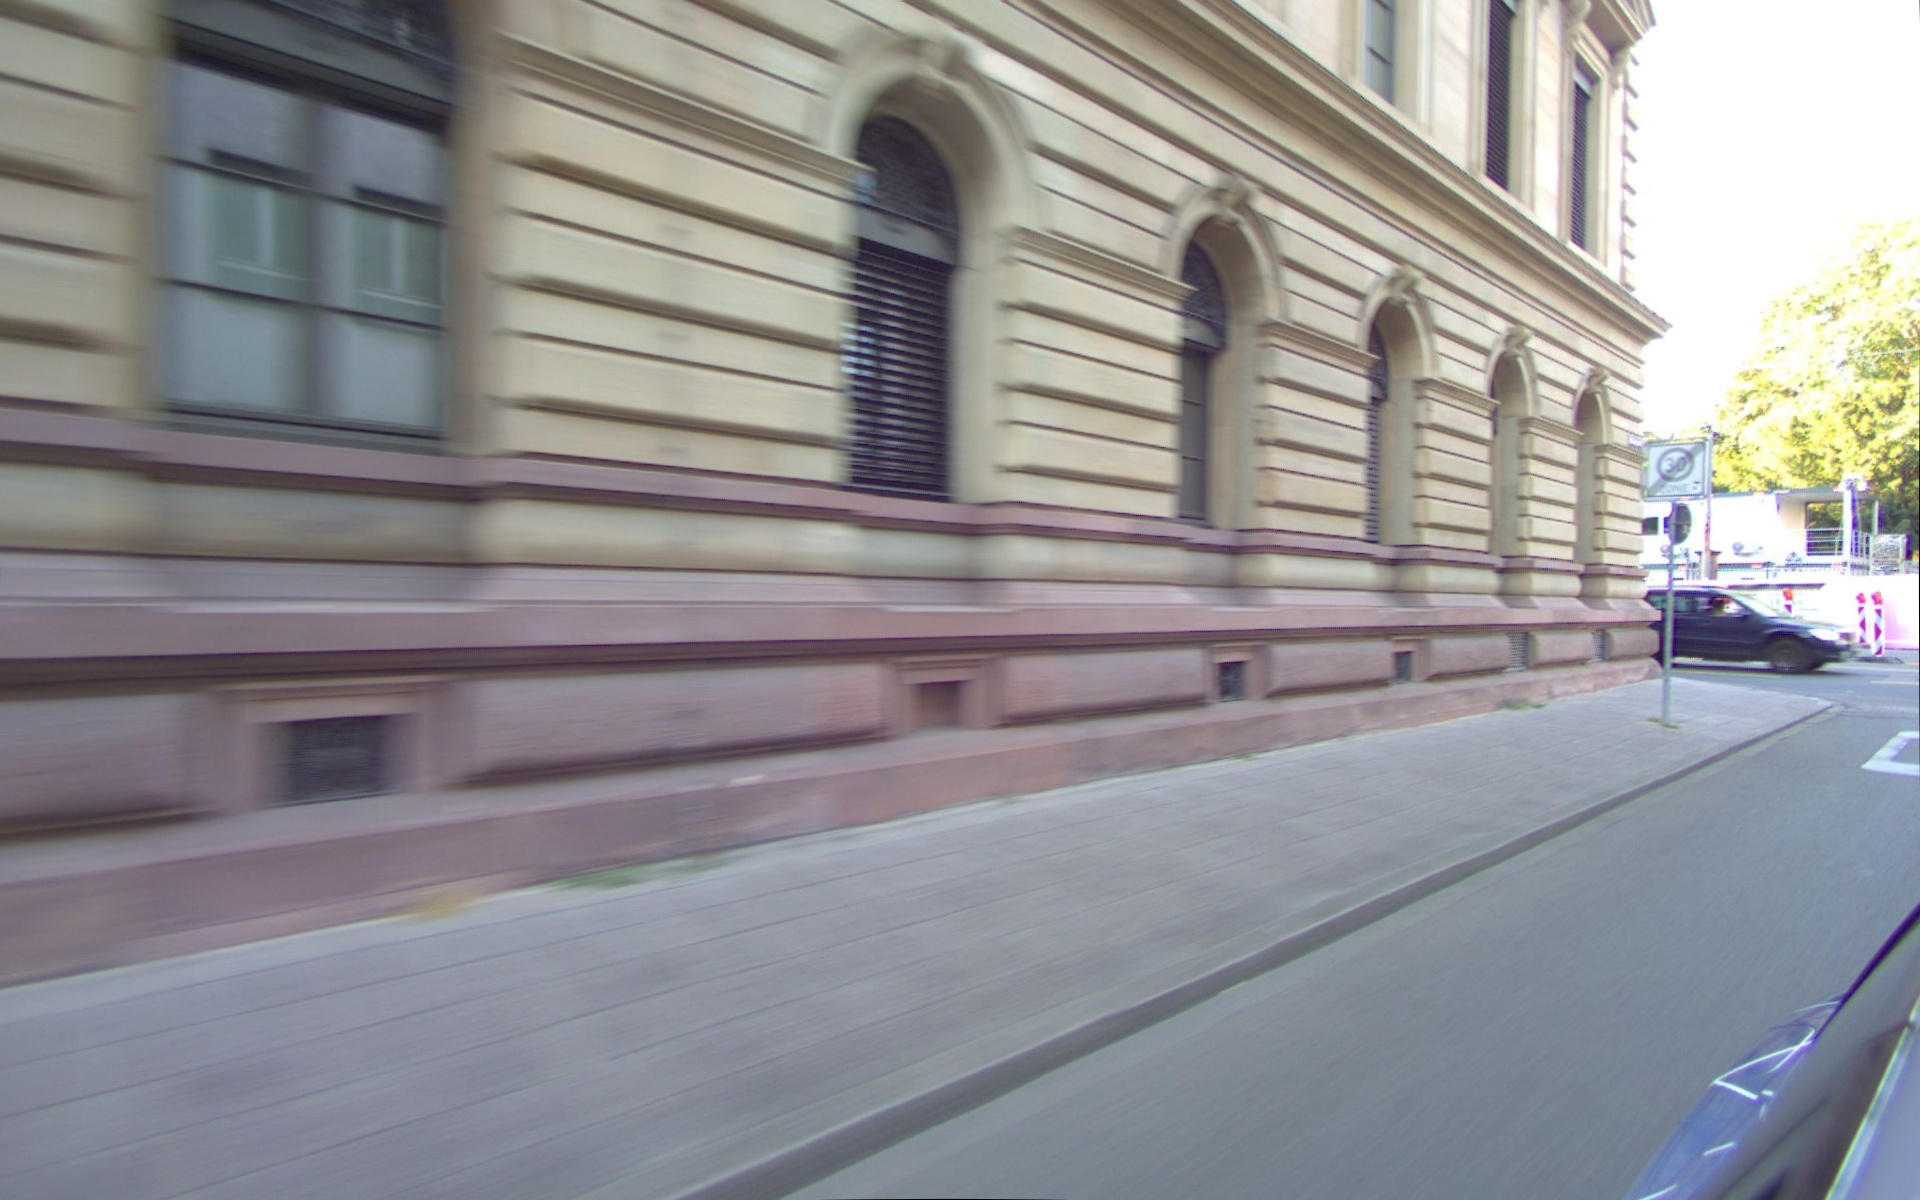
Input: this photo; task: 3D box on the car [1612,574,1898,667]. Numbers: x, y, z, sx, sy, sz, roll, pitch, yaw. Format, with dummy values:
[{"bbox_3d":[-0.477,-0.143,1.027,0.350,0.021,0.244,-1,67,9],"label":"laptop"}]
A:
[{"bbox_3d":[15.977,0.353,20.539,1.901,1.678,4.250,0,1,-38],"label":"car"}]
